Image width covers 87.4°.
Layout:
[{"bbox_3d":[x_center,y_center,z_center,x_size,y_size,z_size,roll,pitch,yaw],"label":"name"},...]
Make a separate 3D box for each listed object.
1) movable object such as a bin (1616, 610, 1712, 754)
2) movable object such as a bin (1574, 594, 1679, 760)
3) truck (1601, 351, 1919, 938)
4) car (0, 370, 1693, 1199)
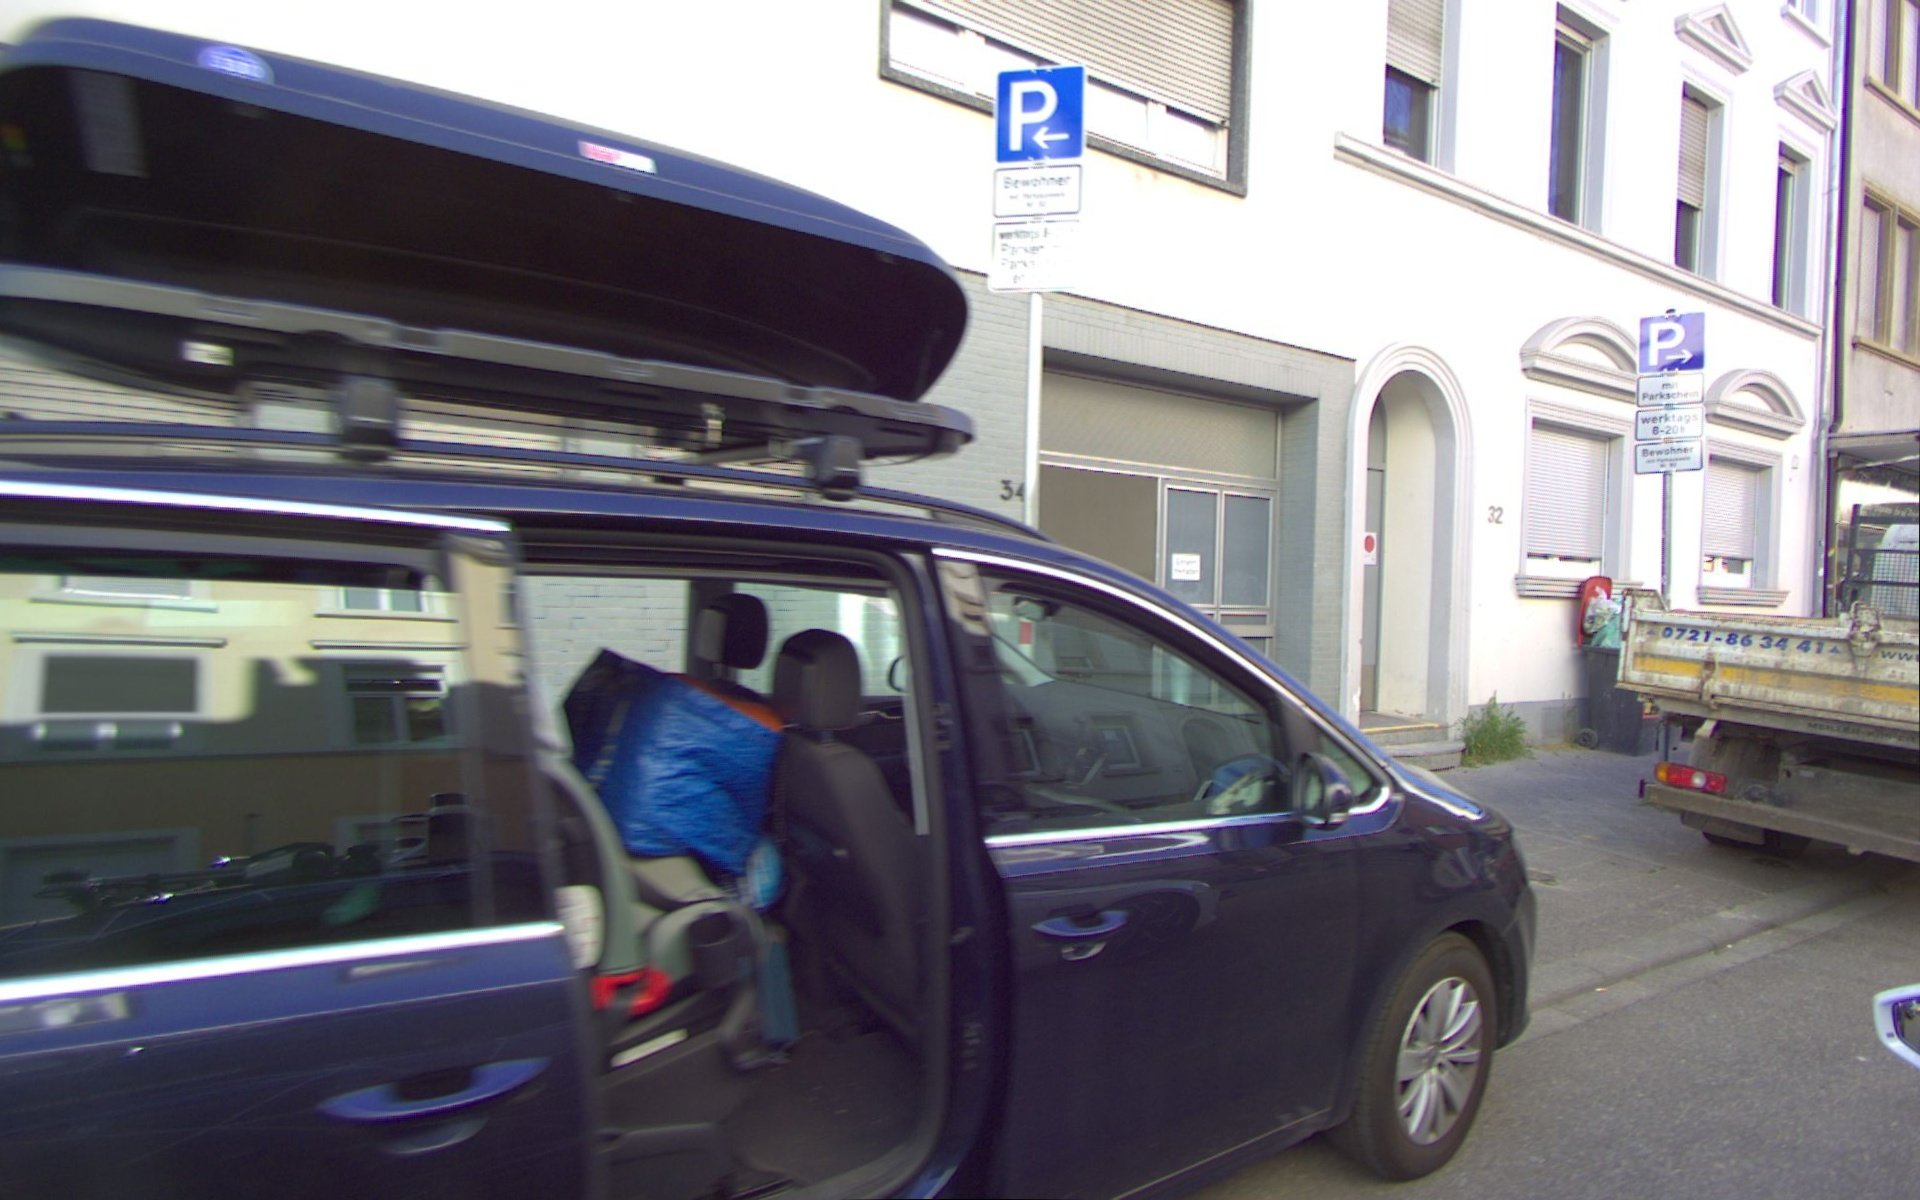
[{"bbox_3d":[7.076,0.804,10.096,0.625,1.378,0.558,1,0,-31],"label":"movable object such as a bin"},{"bbox_3d":[6.512,0.724,9.821,0.580,1.553,0.636,1,1,-31],"label":"movable object such as a bin"},{"bbox_3d":[6.660,0.296,6.493,6.190,2.624,2.142,2,-1,-36],"label":"truck"},{"bbox_3d":[-0.726,0.624,2.592,5.183,1.728,2.428,1,1,-32],"label":"car"}]
